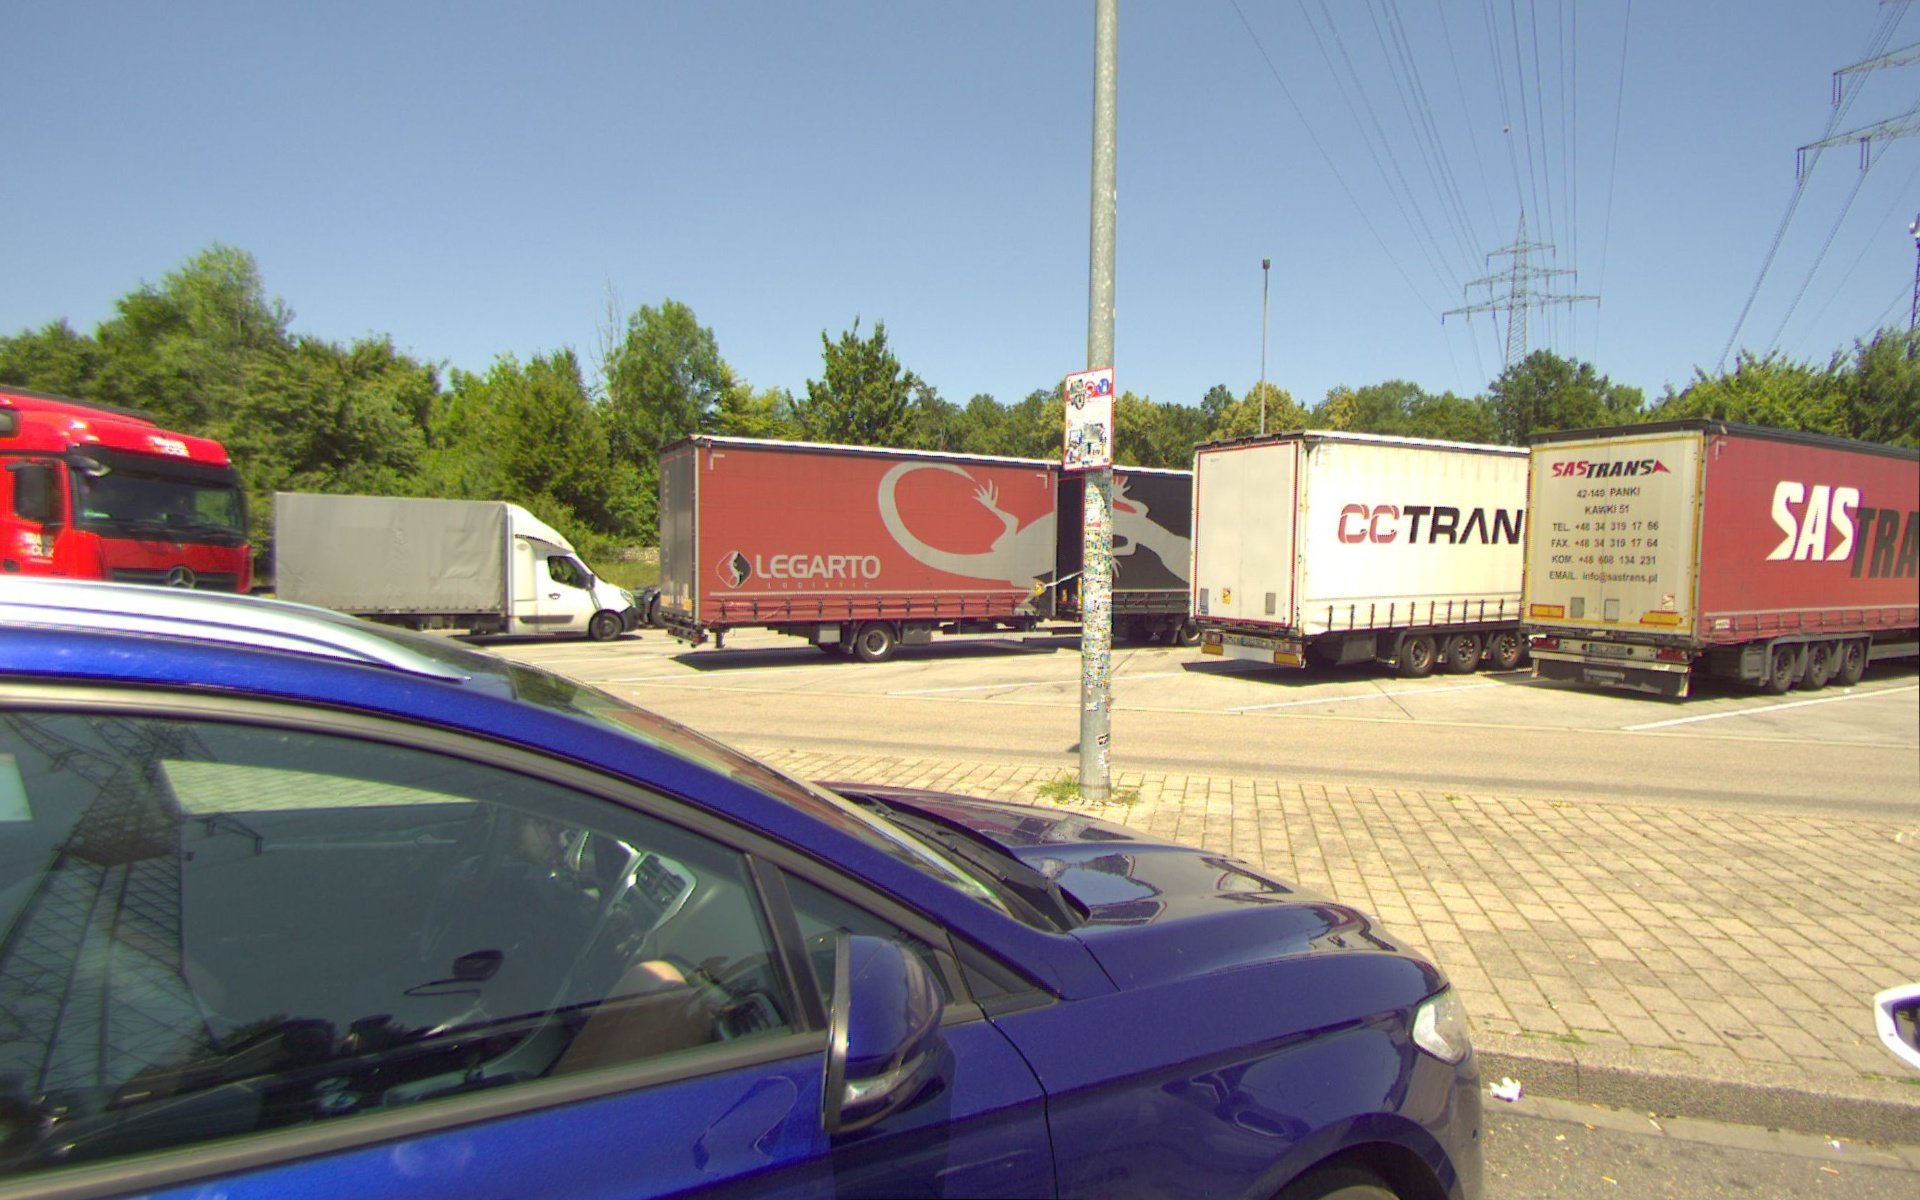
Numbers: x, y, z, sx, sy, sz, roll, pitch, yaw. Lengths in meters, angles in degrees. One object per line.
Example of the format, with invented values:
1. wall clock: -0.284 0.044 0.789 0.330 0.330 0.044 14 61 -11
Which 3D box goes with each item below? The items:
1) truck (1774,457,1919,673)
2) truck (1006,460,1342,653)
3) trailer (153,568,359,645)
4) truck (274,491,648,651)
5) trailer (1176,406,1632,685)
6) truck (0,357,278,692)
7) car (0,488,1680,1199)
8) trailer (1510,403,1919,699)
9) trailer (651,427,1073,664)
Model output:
1. truck: 20.820 -0.674 21.774 6.749 4.136 2.729 0 1 -31
2. truck: 5.402 -0.910 24.584 8.534 4.073 2.624 0 1 -30
3. trailer: -16.510 0.146 23.787 3.856 1.684 1.464 0 1 -30
4. truck: -11.051 -0.604 22.798 7.265 3.170 2.352 0 1 -30
5. trailer: 8.713 -0.830 19.109 9.614 4.321 2.733 0 1 -29
6. truck: -15.694 -0.973 15.197 10.391 4.182 2.695 1 -1 15
7. car: -1.006 0.654 1.465 4.419 1.485 1.765 0 1 -32
8. trailer: 15.322 -0.671 18.522 13.129 4.112 2.736 0 1 -31
9. trailer: -1.789 -0.918 20.311 8.158 4.027 2.651 0 1 -31
